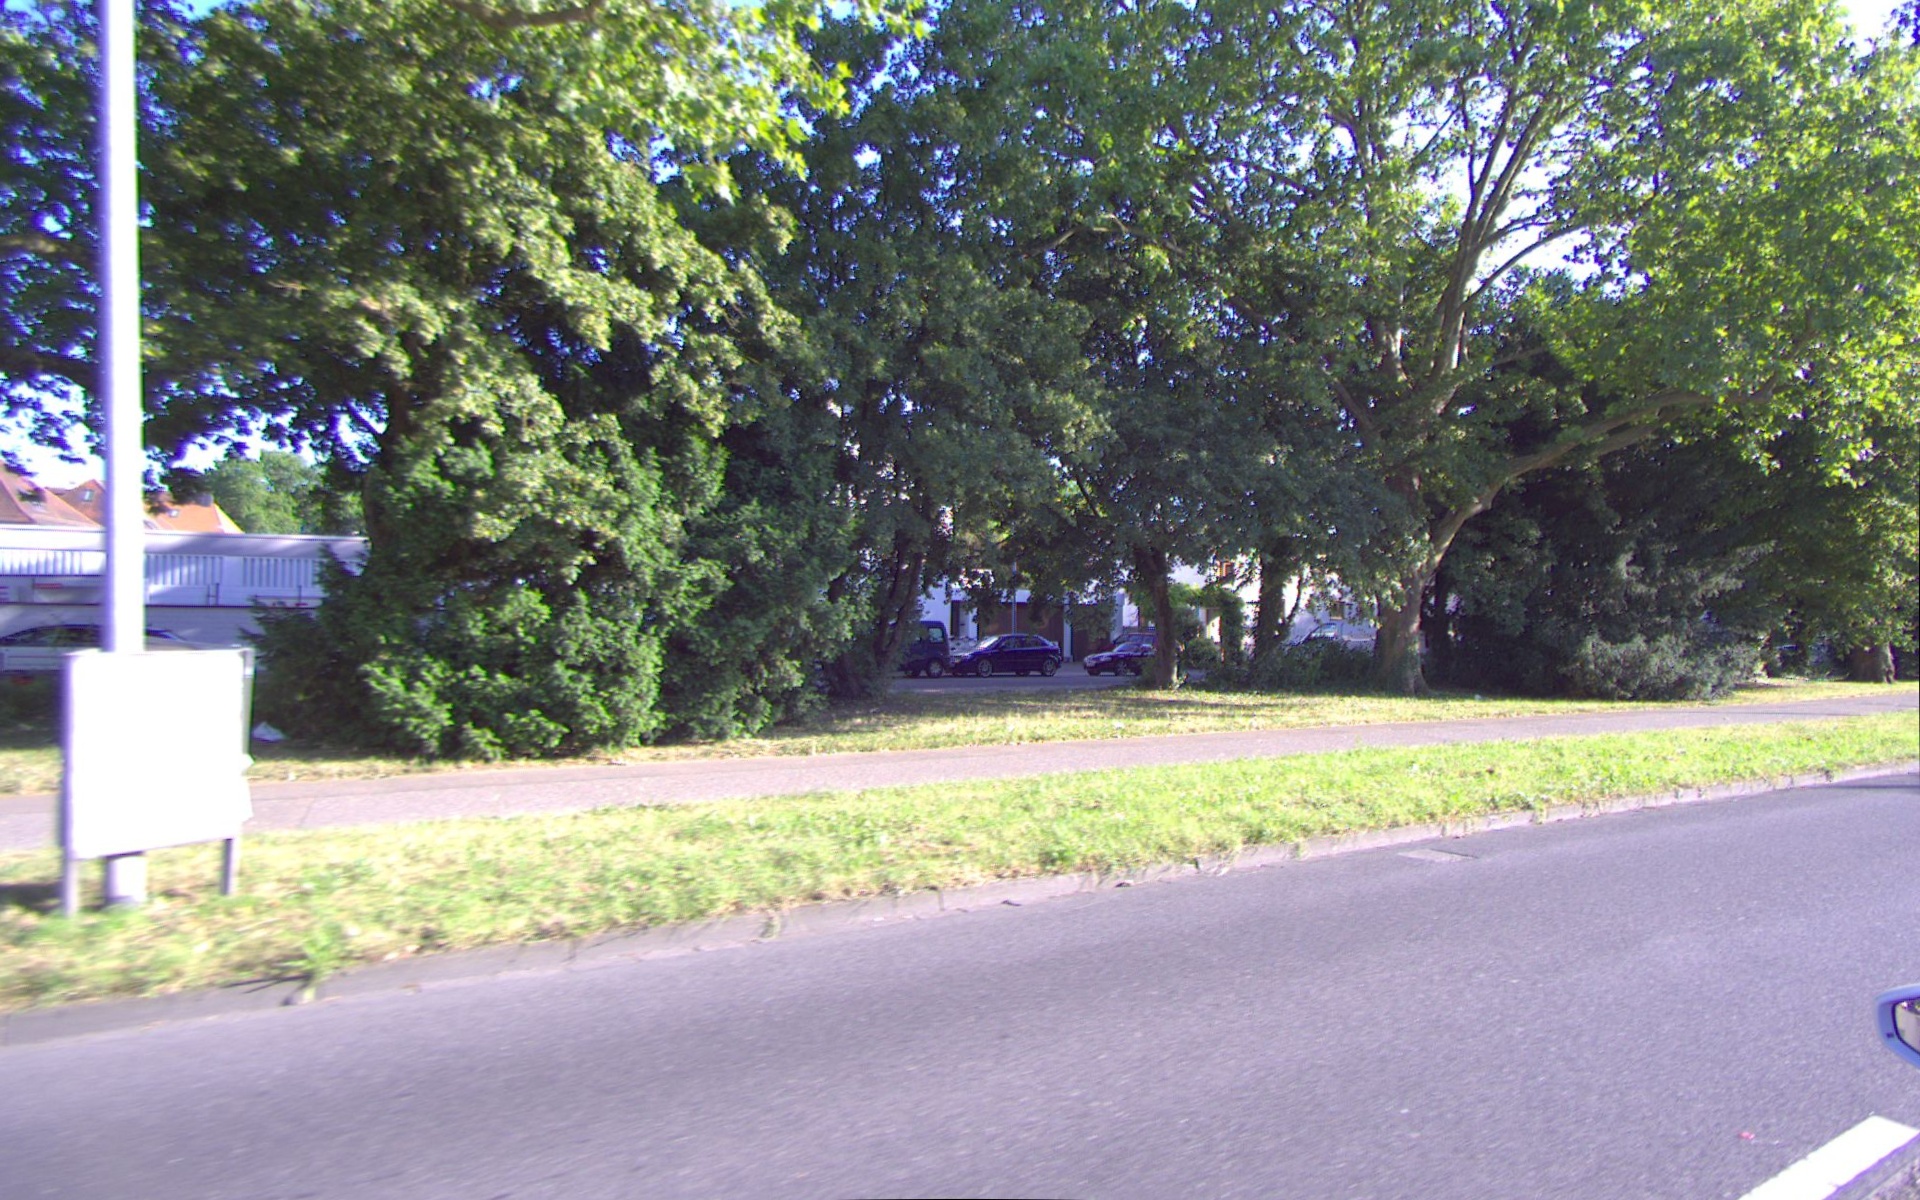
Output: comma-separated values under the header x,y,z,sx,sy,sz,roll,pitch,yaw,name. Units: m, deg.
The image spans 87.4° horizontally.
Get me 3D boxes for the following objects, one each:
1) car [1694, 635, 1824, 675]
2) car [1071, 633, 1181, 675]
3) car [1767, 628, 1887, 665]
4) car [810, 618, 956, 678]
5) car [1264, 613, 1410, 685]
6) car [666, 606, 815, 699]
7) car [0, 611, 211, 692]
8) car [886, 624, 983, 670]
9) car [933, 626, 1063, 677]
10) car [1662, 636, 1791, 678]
x,y,z,sx,sy,sz,roll,pitch,yaw,name
34.464,2.339,43.391,1.936,1.617,4.092,2,-2,-38,car
6.041,1.947,36.421,3.721,1.460,1.769,2,-3,-31,car
40.786,2.149,47.333,1.895,1.528,3.958,2,0,-37,car
-2.376,1.494,31.254,4.128,1.764,1.884,2,-3,-31,car
11.887,1.469,31.827,1.891,2.072,3.956,0,0,-38,car
-4.582,1.085,20.570,1.709,1.706,3.965,2,-4,-33,car
-18.484,1.045,20.988,4.309,1.582,1.849,2,-1,-31,car
-0.998,1.705,37.085,1.903,1.572,3.967,2,-2,-31,car
1.289,1.714,33.387,4.024,1.575,1.817,2,-3,-31,car
30.278,2.227,39.755,1.795,1.520,3.703,2,-2,-34,car
